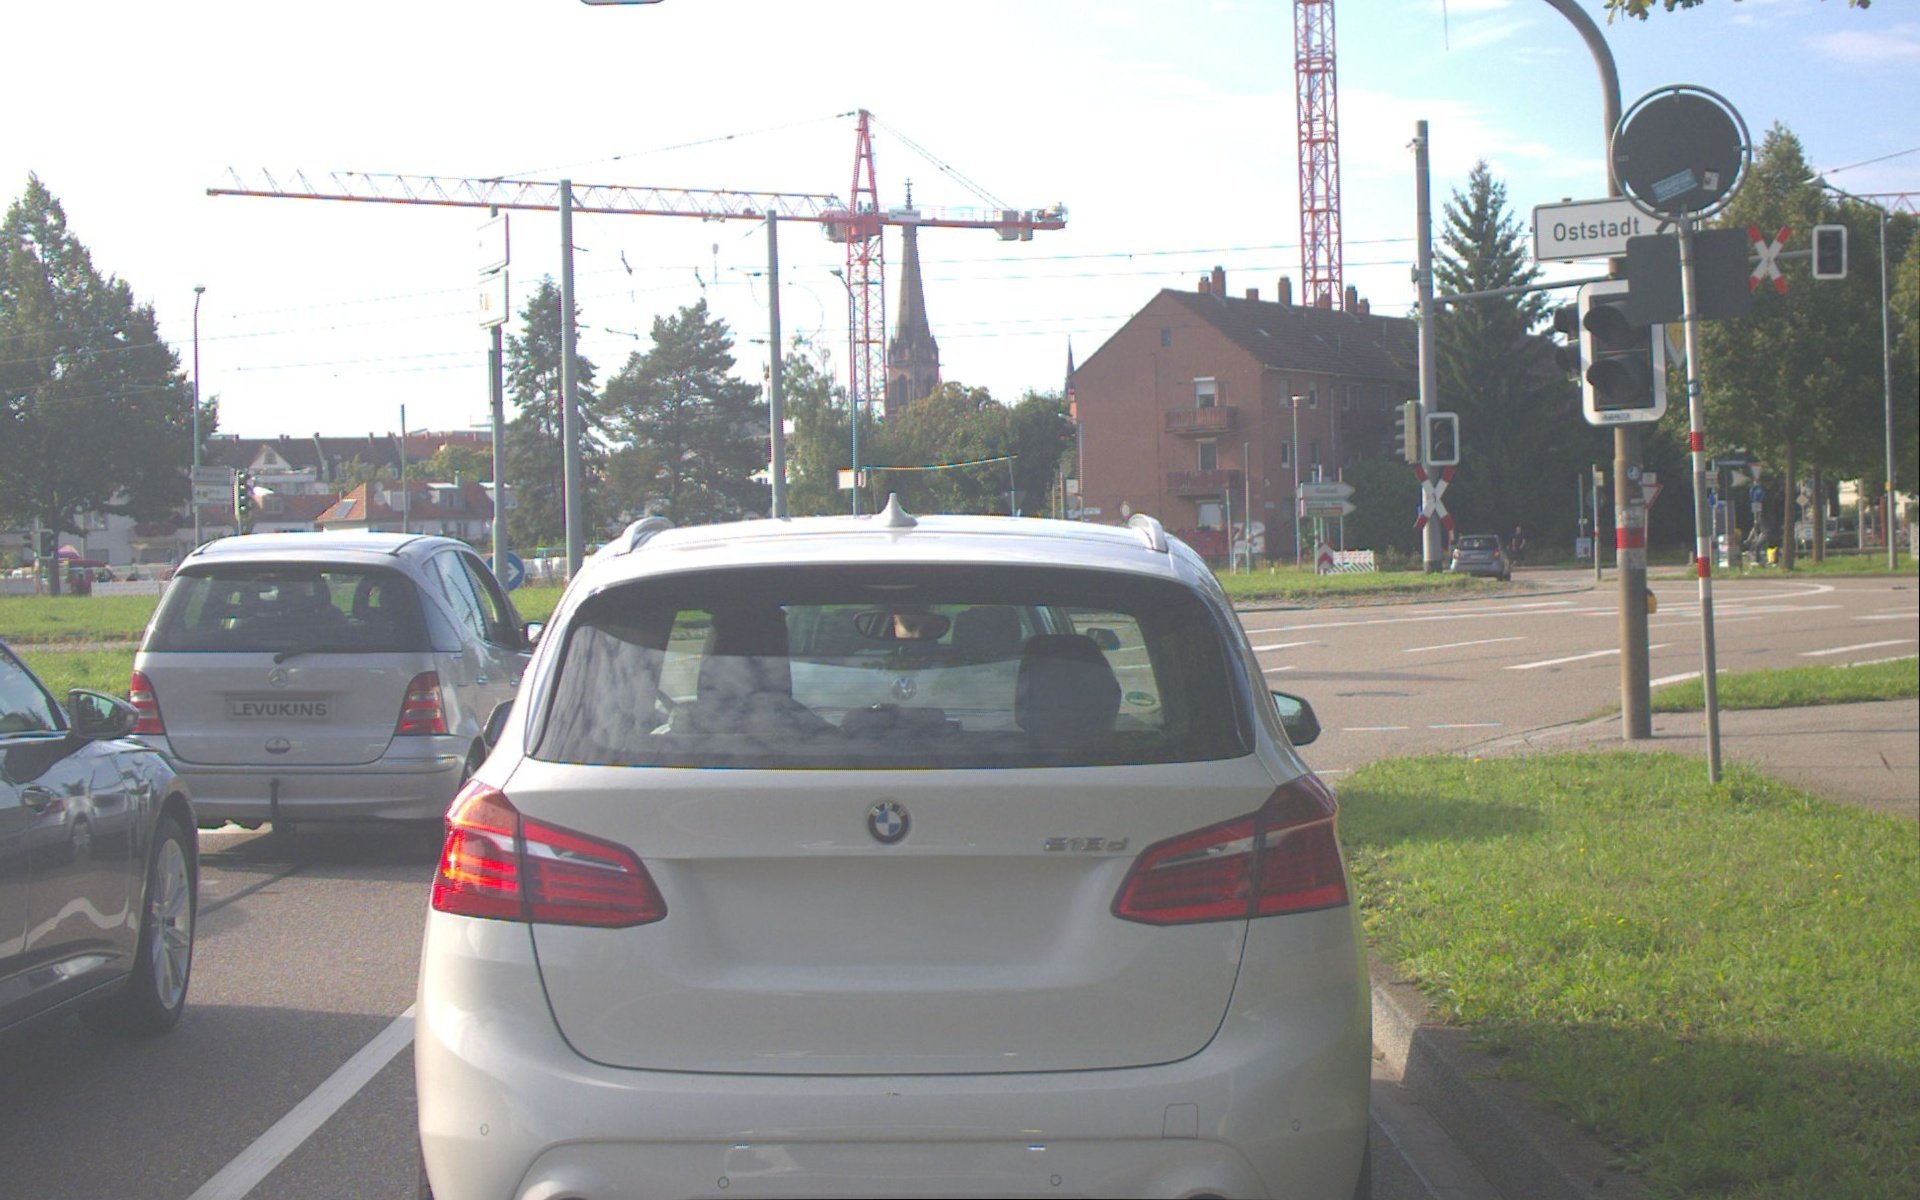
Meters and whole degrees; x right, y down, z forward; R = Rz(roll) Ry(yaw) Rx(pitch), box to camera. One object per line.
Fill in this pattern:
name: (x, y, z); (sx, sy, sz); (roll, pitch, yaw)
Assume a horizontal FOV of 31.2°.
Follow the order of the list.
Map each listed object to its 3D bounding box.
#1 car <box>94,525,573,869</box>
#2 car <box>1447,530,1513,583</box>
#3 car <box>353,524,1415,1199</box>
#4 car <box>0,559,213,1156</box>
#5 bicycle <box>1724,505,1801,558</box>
car: (-3.069, 0.406, 17.611); (1.729, 1.553, 4.058); (0, 1, 0)
car: (16.830, -1.425, 111.179); (1.571, 1.568, 3.196); (-2, 1, 18)
car: (-0.152, 0.618, 7.640); (1.729, 1.553, 4.058); (0, 1, -1)
car: (-3.328, 0.635, 8.799); (1.890, 1.478, 4.613); (0, 1, -1)
bicycle: (23.774, -2.028, 101.851); (0.893, 1.525, 2.290); (1, 0, -30)
